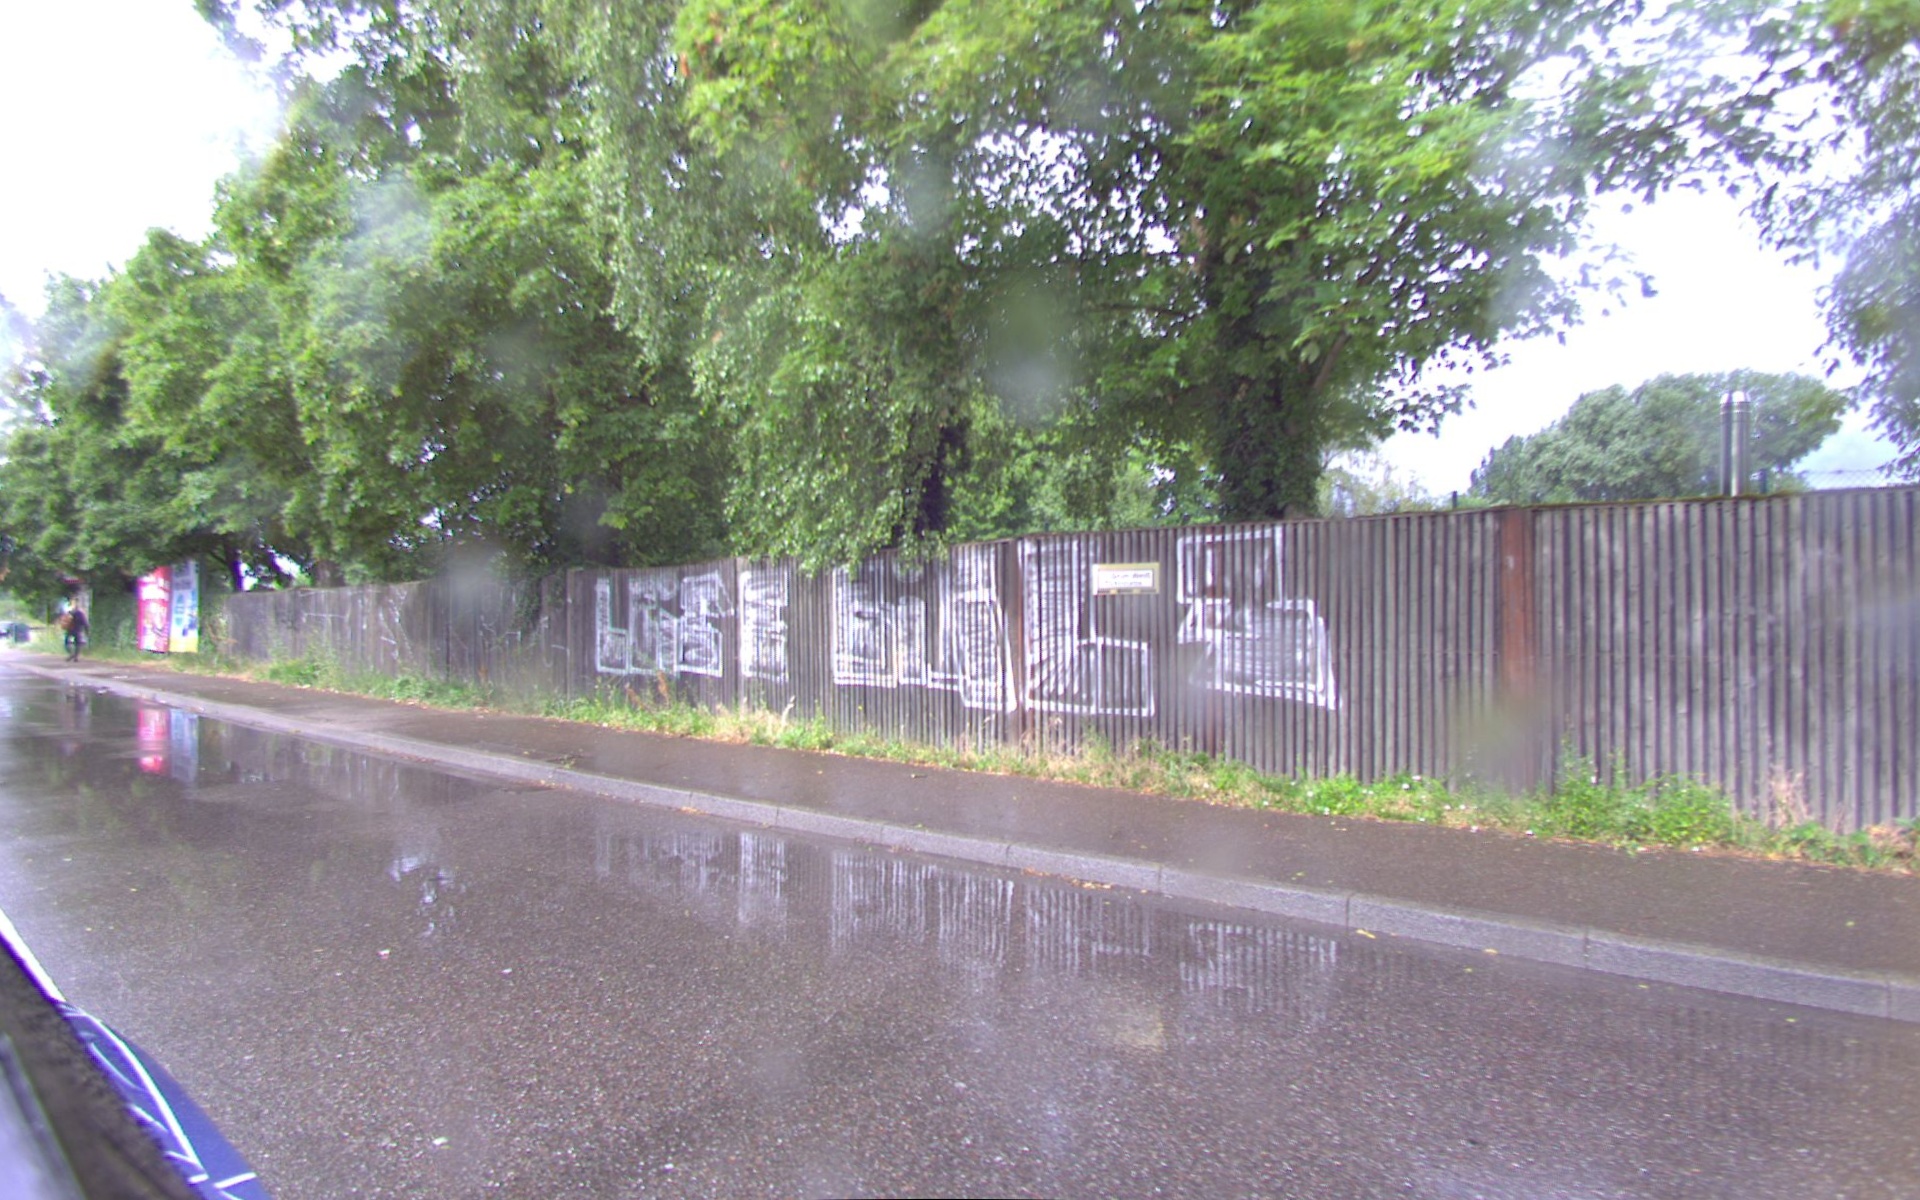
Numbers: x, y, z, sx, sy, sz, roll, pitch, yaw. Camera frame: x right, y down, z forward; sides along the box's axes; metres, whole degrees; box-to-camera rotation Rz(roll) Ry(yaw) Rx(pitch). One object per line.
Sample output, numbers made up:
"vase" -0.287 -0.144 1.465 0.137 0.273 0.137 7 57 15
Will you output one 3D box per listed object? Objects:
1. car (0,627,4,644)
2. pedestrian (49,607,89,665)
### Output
"car" -94.399 3.430 98.457 1.770 1.645 3.625 0 -1 -39
"pedestrian" -27.794 1.122 31.568 0.644 1.783 0.830 -1 -2 40
